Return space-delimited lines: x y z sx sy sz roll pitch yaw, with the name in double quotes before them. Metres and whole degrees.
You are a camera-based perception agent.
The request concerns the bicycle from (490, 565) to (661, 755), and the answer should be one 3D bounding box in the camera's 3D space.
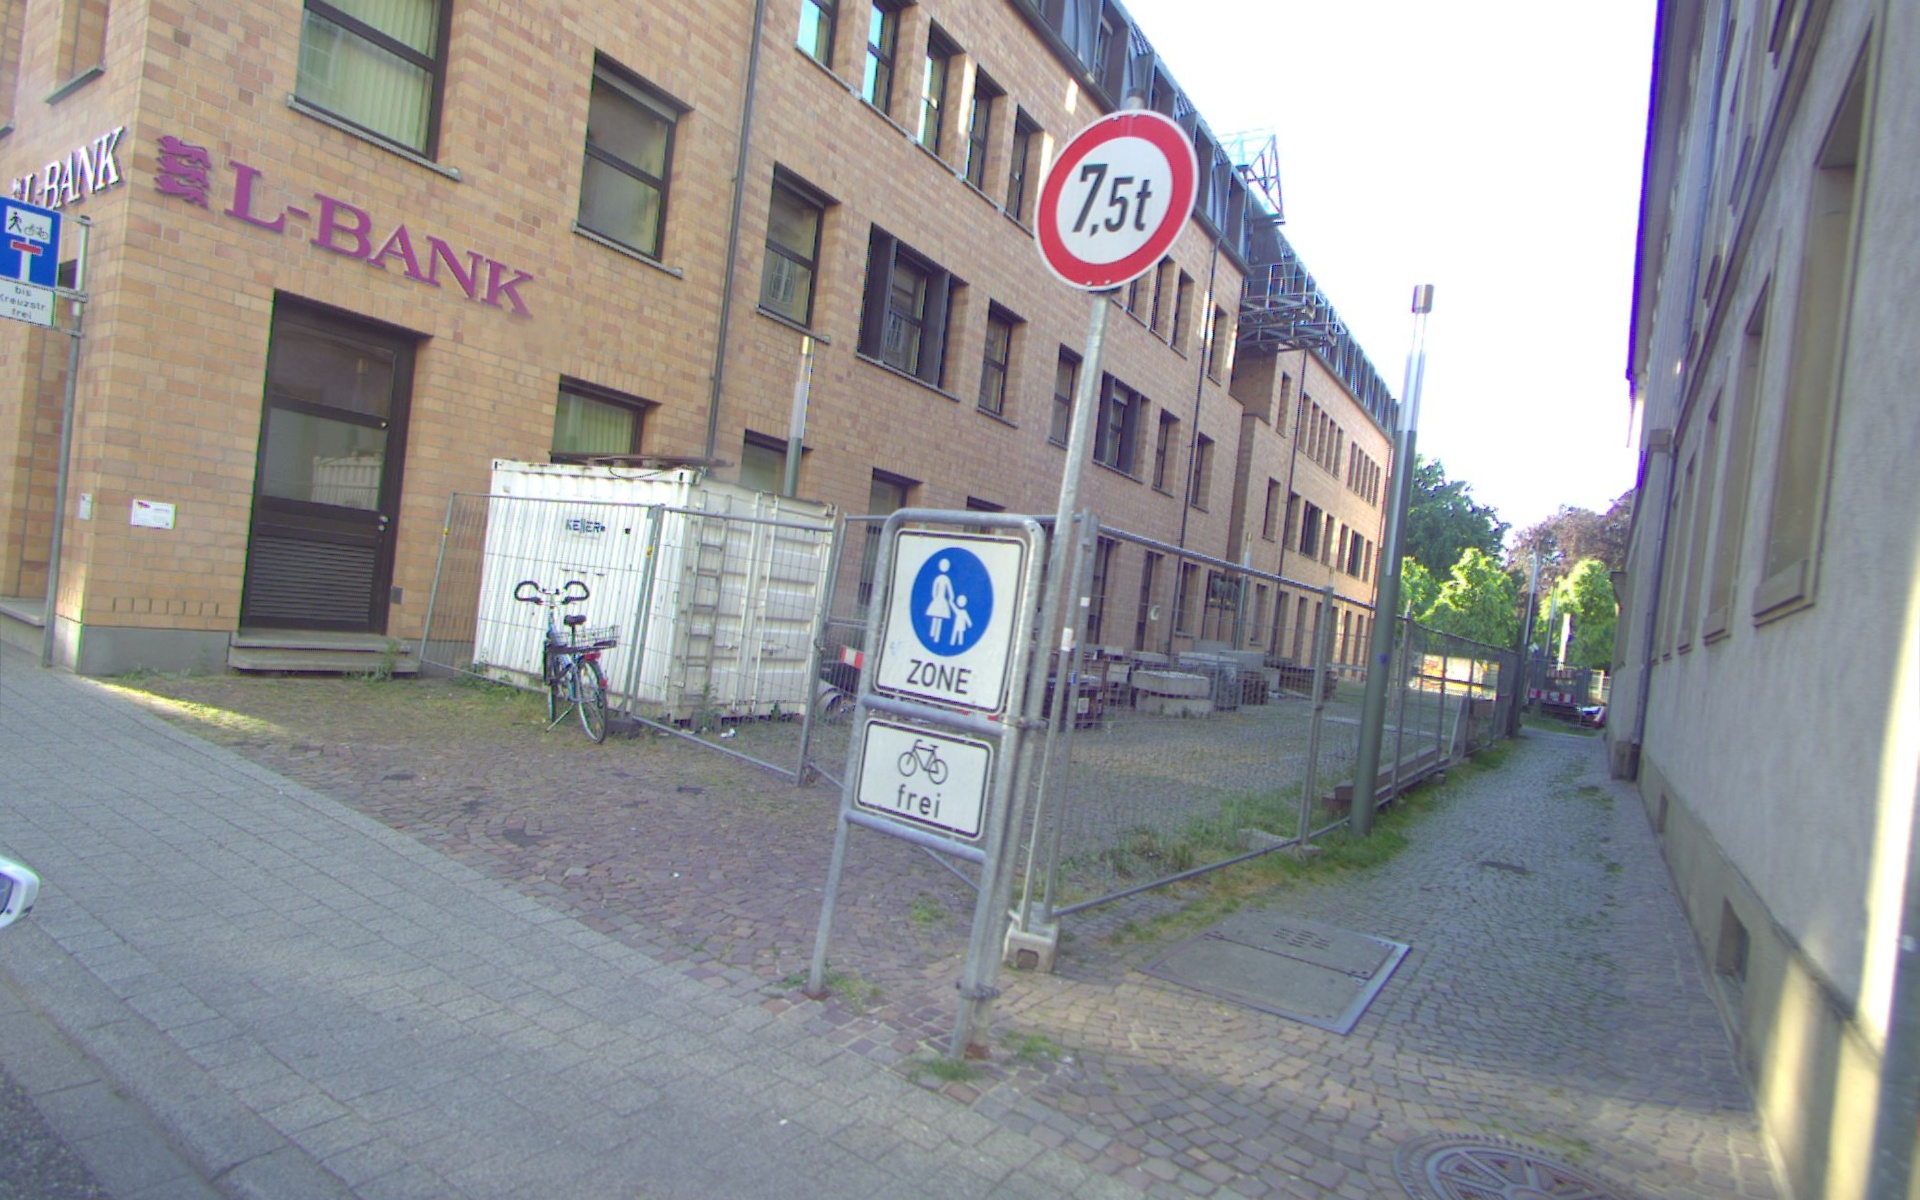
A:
"bicycle" -3.197 0.451 8.283 1.625 1.333 0.549 7 1 43
